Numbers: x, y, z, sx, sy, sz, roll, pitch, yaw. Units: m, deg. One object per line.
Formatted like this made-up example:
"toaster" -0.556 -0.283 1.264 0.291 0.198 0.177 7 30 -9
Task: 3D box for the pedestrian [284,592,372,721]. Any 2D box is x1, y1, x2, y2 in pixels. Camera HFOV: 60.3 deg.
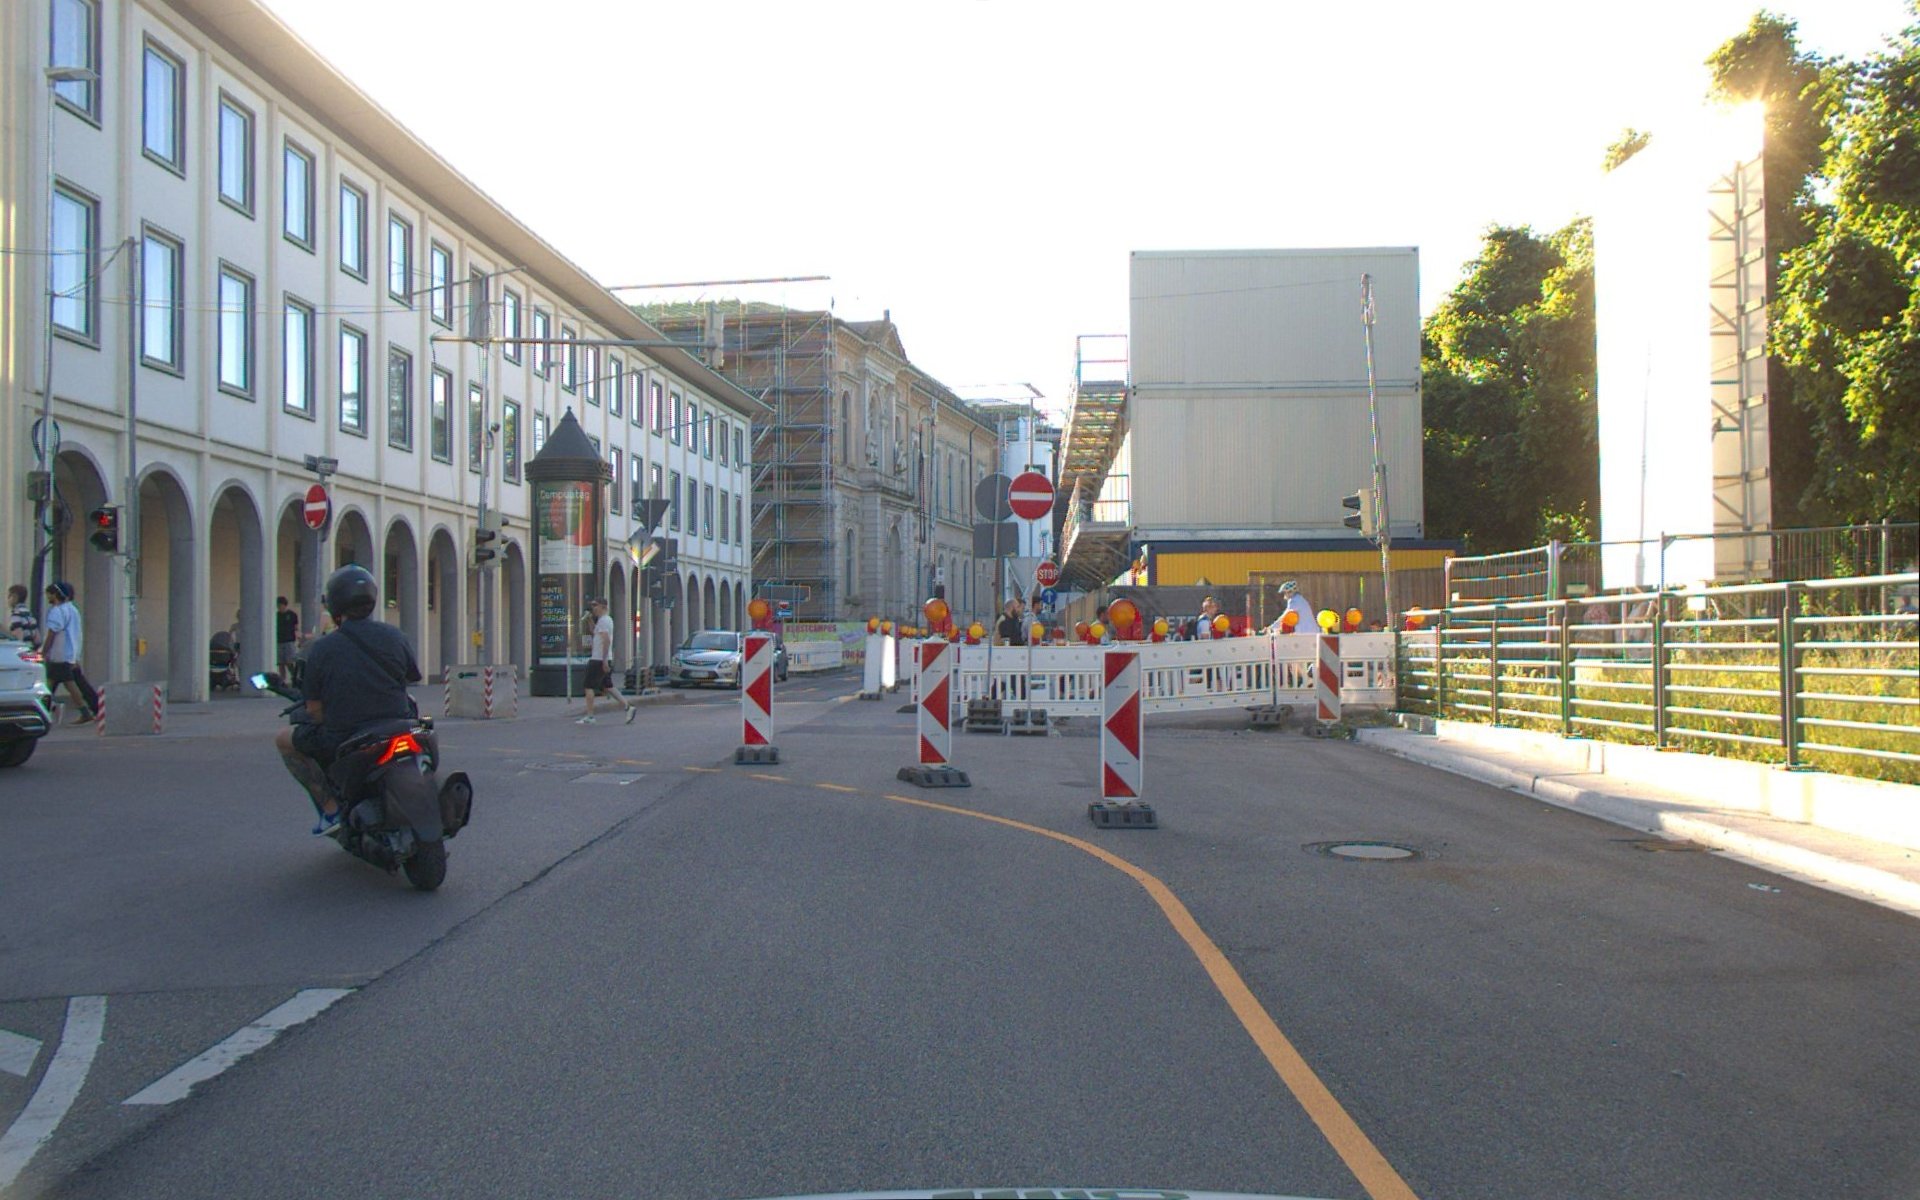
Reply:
"pedestrian" -8.738 0.775 22.888 0.945 1.739 0.675 0 1 0

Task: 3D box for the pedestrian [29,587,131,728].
"pedestrian" -11.645 0.742 21.906 0.919 1.808 0.711 -1 1 0

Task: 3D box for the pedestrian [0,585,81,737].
"pedestrian" -11.774 0.748 20.594 1.217 1.833 0.716 -1 1 0

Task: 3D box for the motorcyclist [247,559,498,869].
"motorcyclist" -3.301 0.586 9.262 0.948 1.587 1.221 0 0 -41

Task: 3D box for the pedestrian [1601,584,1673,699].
"pedestrian" 9.663 0.591 23.608 0.738 1.593 0.656 -1 -1 -41

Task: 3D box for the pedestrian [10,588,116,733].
"pedestrian" -11.547 0.765 21.312 0.919 1.808 0.711 -1 1 0

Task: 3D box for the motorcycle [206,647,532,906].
"motorcycle" -3.399 0.894 9.331 0.900 1.204 2.541 -1 0 -40

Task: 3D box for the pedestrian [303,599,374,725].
"pedestrian" -8.415 0.828 22.395 0.710 1.652 0.620 0 1 0

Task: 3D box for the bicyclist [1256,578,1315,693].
"bicyclist" 4.440 0.486 22.611 0.687 1.542 0.686 0 -1 3

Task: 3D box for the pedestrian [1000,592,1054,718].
"pedestrian" 0.989 0.797 24.294 0.721 1.802 0.622 -2 -1 3

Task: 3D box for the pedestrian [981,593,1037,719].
"pedestrian" 0.701 0.792 23.679 0.721 1.746 0.622 -2 -1 3

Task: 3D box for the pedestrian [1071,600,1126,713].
"pedestrian" 2.089 0.846 24.956 0.752 1.647 0.666 -2 -1 3

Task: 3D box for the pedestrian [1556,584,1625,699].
"pedestrian" 9.187 0.597 24.111 0.721 1.632 0.644 -2 -1 3

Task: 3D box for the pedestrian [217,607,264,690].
"pedestrian" -14.714 0.992 33.847 0.605 1.652 0.727 0 1 4

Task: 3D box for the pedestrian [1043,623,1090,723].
"pedestrian" 1.447 0.981 22.532 0.605 1.322 0.494 2 -1 2

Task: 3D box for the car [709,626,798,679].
"car" -6.141 1.602 49.606 1.884 1.492 4.001 1 -3 4

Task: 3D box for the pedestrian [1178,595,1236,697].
"pedestrian" 3.730 0.692 25.014 0.752 1.488 0.666 -2 -1 3

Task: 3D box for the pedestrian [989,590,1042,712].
"pedestrian" 0.851 0.765 25.138 0.721 1.802 0.724 -2 -1 3

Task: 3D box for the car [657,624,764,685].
"car" -6.432 1.451 43.048 1.884 1.492 4.001 1 -3 4

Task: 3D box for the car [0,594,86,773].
"car" -9.879 0.755 14.535 3.906 1.498 1.864 -2 -1 24

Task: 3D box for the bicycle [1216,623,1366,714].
"bicycle" 4.520 0.929 22.631 1.951 1.222 0.477 0 -1 2

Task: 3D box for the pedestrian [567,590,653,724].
"pedestrian" -4.758 0.774 22.551 0.954 1.759 0.798 -2 -2 0

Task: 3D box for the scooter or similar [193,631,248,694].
"scooter or similar" -14.752 1.241 33.002 0.605 1.178 0.959 0 2 4

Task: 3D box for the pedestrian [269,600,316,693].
"pedestrian" -13.740 0.946 34.041 0.627 1.872 0.727 0 1 4
